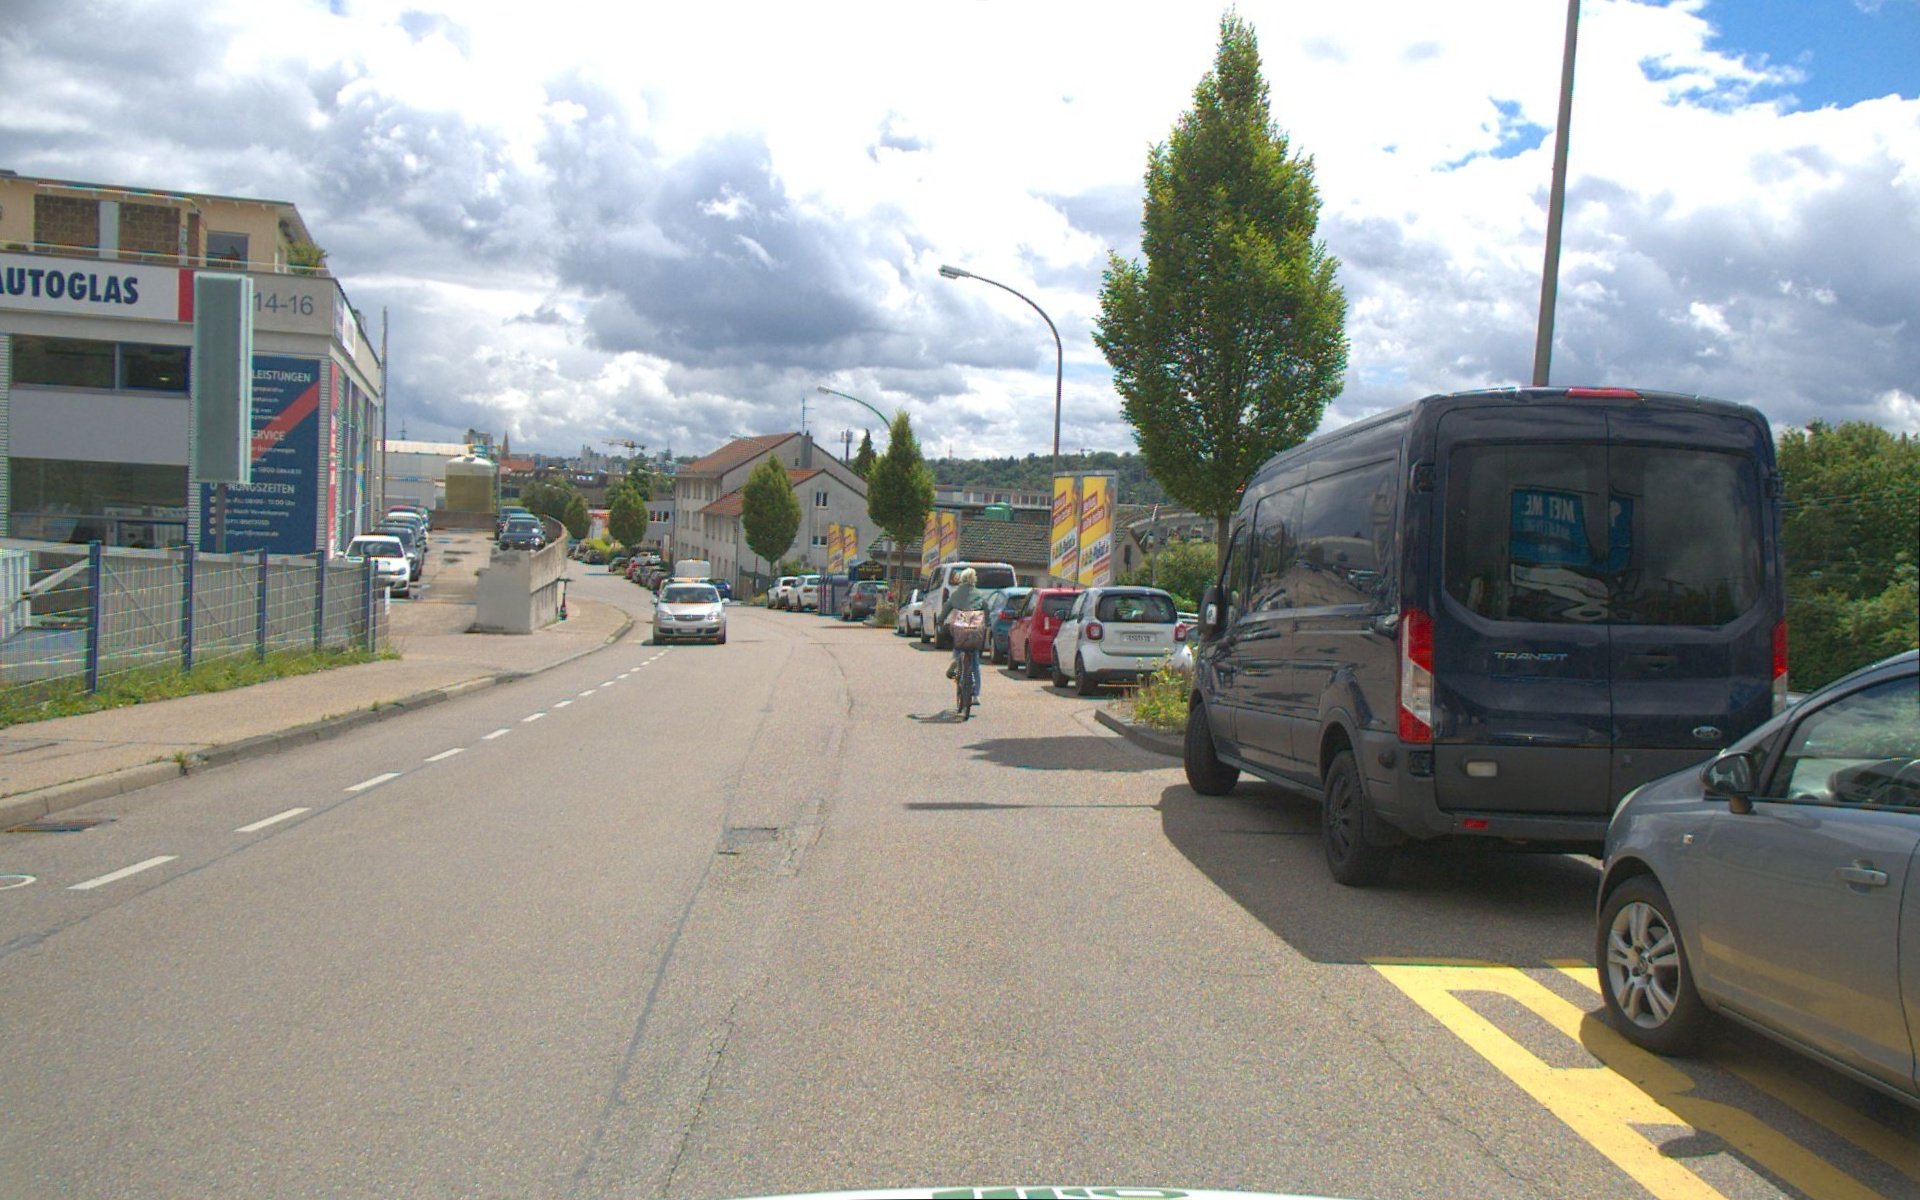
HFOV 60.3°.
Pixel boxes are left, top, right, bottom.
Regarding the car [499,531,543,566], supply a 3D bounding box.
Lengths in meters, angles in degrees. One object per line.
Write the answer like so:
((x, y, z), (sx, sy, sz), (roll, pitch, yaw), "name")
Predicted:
((-17.659, -2.080, 66.619), (1.642, 1.346, 3.705), (1, 2, -14), "car")

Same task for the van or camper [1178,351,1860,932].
((2.980, 0.169, 10.593), (2.082, 2.630, 5.914), (1, 1, -3), "van or camper")

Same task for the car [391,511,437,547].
((-22.216, -2.858, 67.413), (1.643, 1.346, 3.702), (0, 1, -16), "car")

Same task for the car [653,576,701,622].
((-10.176, -0.048, 59.522), (1.677, 1.601, 3.991), (0, 1, -10), "car")

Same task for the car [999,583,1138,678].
((1.813, 0.480, 28.878), (1.839, 1.534, 3.996), (0, 1, -5), "car")

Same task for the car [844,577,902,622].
((-3.327, -0.048, 62.413), (1.955, 1.646, 3.994), (0, 1, -7), "car")

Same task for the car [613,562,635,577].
((-33.753, -3.040, 165.996), (1.961, 1.445, 3.984), (0, 1, -15), "car")

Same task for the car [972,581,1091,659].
((1.372, 0.359, 33.246), (1.867, 1.467, 3.539), (0, 1, -7), "car")

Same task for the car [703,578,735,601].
((-15.707, -0.686, 107.806), (1.957, 1.489, 3.991), (0, 1, -10), "car")

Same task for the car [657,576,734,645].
((-6.472, 0.223, 40.865), (1.670, 1.589, 4.322), (1, 1, -7), "car")

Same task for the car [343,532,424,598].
((-15.383, -0.907, 44.272), (1.817, 1.679, 3.982), (0, 1, -16), "car")

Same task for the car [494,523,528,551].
((-22.824, -3.213, 83.981), (1.643, 1.346, 3.702), (0, 2, -16), "car")

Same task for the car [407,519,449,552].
((-23.275, -2.810, 72.457), (1.643, 1.346, 3.702), (0, 1, -16), "car")

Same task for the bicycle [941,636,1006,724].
((0.134, 0.909, 19.383), (0.674, 0.893, 2.101), (0, 1, -2), "bicycle")

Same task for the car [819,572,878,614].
((-4.814, -0.315, 71.224), (2.096, 1.735, 3.990), (0, 1, -11), "car")

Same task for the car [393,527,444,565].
((-19.946, -1.970, 61.008), (1.643, 1.346, 3.702), (0, 1, -16), "car")

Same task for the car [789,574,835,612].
((-6.870, -0.340, 76.473), (1.780, 1.735, 3.990), (0, 1, -11), "car")

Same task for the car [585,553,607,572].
((-42.192, -4.369, 191.420), (1.963, 2.048, 3.979), (4, 0, -19), "car")

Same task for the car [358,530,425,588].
((-16.834, -1.199, 49.098), (1.668, 1.658, 3.702), (0, 1, -16), "car")

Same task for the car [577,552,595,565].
((-44.165, -4.890, 195.340), (1.961, 1.445, 3.984), (0, 1, -15), "car")

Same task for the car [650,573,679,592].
((-23.751, -1.417, 132.809), (1.960, 1.489, 3.985), (0, 1, -14), "car")

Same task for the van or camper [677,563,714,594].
((-18.712, -1.546, 116.857), (1.961, 2.048, 3.983), (4, 0, -16), "van or camper")

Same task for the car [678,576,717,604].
((-15.815, -0.637, 99.542), (1.960, 1.646, 3.985), (0, 1, -15), "car")

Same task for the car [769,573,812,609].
((-8.442, -0.478, 82.112), (1.809, 1.735, 3.990), (0, 1, -11), "car")

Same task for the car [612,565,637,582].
((-30.449, -2.378, 150.041), (1.960, 1.489, 3.985), (0, 1, -14), "car")

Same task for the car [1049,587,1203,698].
((2.389, 0.579, 24.430), (1.758, 1.532, 2.903), (0, 1, -5), "car")

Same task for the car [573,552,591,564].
((-46.794, -5.189, 204.809), (1.961, 1.445, 3.984), (0, 1, -15), "car")

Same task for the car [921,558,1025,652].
((0.229, 0.093, 39.991), (1.955, 2.049, 4.912), (2, 0, -6), "car")

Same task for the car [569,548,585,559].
((-50.286, -6.108, 217.172), (1.961, 1.445, 3.984), (0, 1, -15), "car")

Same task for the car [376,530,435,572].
((-18.473, -1.610, 55.211), (1.693, 1.346, 3.702), (0, 1, -16), "car")

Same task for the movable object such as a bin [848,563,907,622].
((-3.358, -0.325, 67.086), (2.096, 2.343, 2.551), (0, 1, -11), "movable object such as a bin")

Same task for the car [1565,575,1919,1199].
((3.241, 0.757, 4.444), (1.671, 1.536, 3.694), (3, 1, -3), "car")

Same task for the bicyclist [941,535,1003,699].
((0.132, 0.188, 19.343), (0.671, 1.857, 1.080), (0, 0, -2), "bicyclist")

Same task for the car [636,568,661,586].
((-27.140, -1.992, 143.981), (1.960, 1.489, 3.985), (0, 1, -14), "car")
